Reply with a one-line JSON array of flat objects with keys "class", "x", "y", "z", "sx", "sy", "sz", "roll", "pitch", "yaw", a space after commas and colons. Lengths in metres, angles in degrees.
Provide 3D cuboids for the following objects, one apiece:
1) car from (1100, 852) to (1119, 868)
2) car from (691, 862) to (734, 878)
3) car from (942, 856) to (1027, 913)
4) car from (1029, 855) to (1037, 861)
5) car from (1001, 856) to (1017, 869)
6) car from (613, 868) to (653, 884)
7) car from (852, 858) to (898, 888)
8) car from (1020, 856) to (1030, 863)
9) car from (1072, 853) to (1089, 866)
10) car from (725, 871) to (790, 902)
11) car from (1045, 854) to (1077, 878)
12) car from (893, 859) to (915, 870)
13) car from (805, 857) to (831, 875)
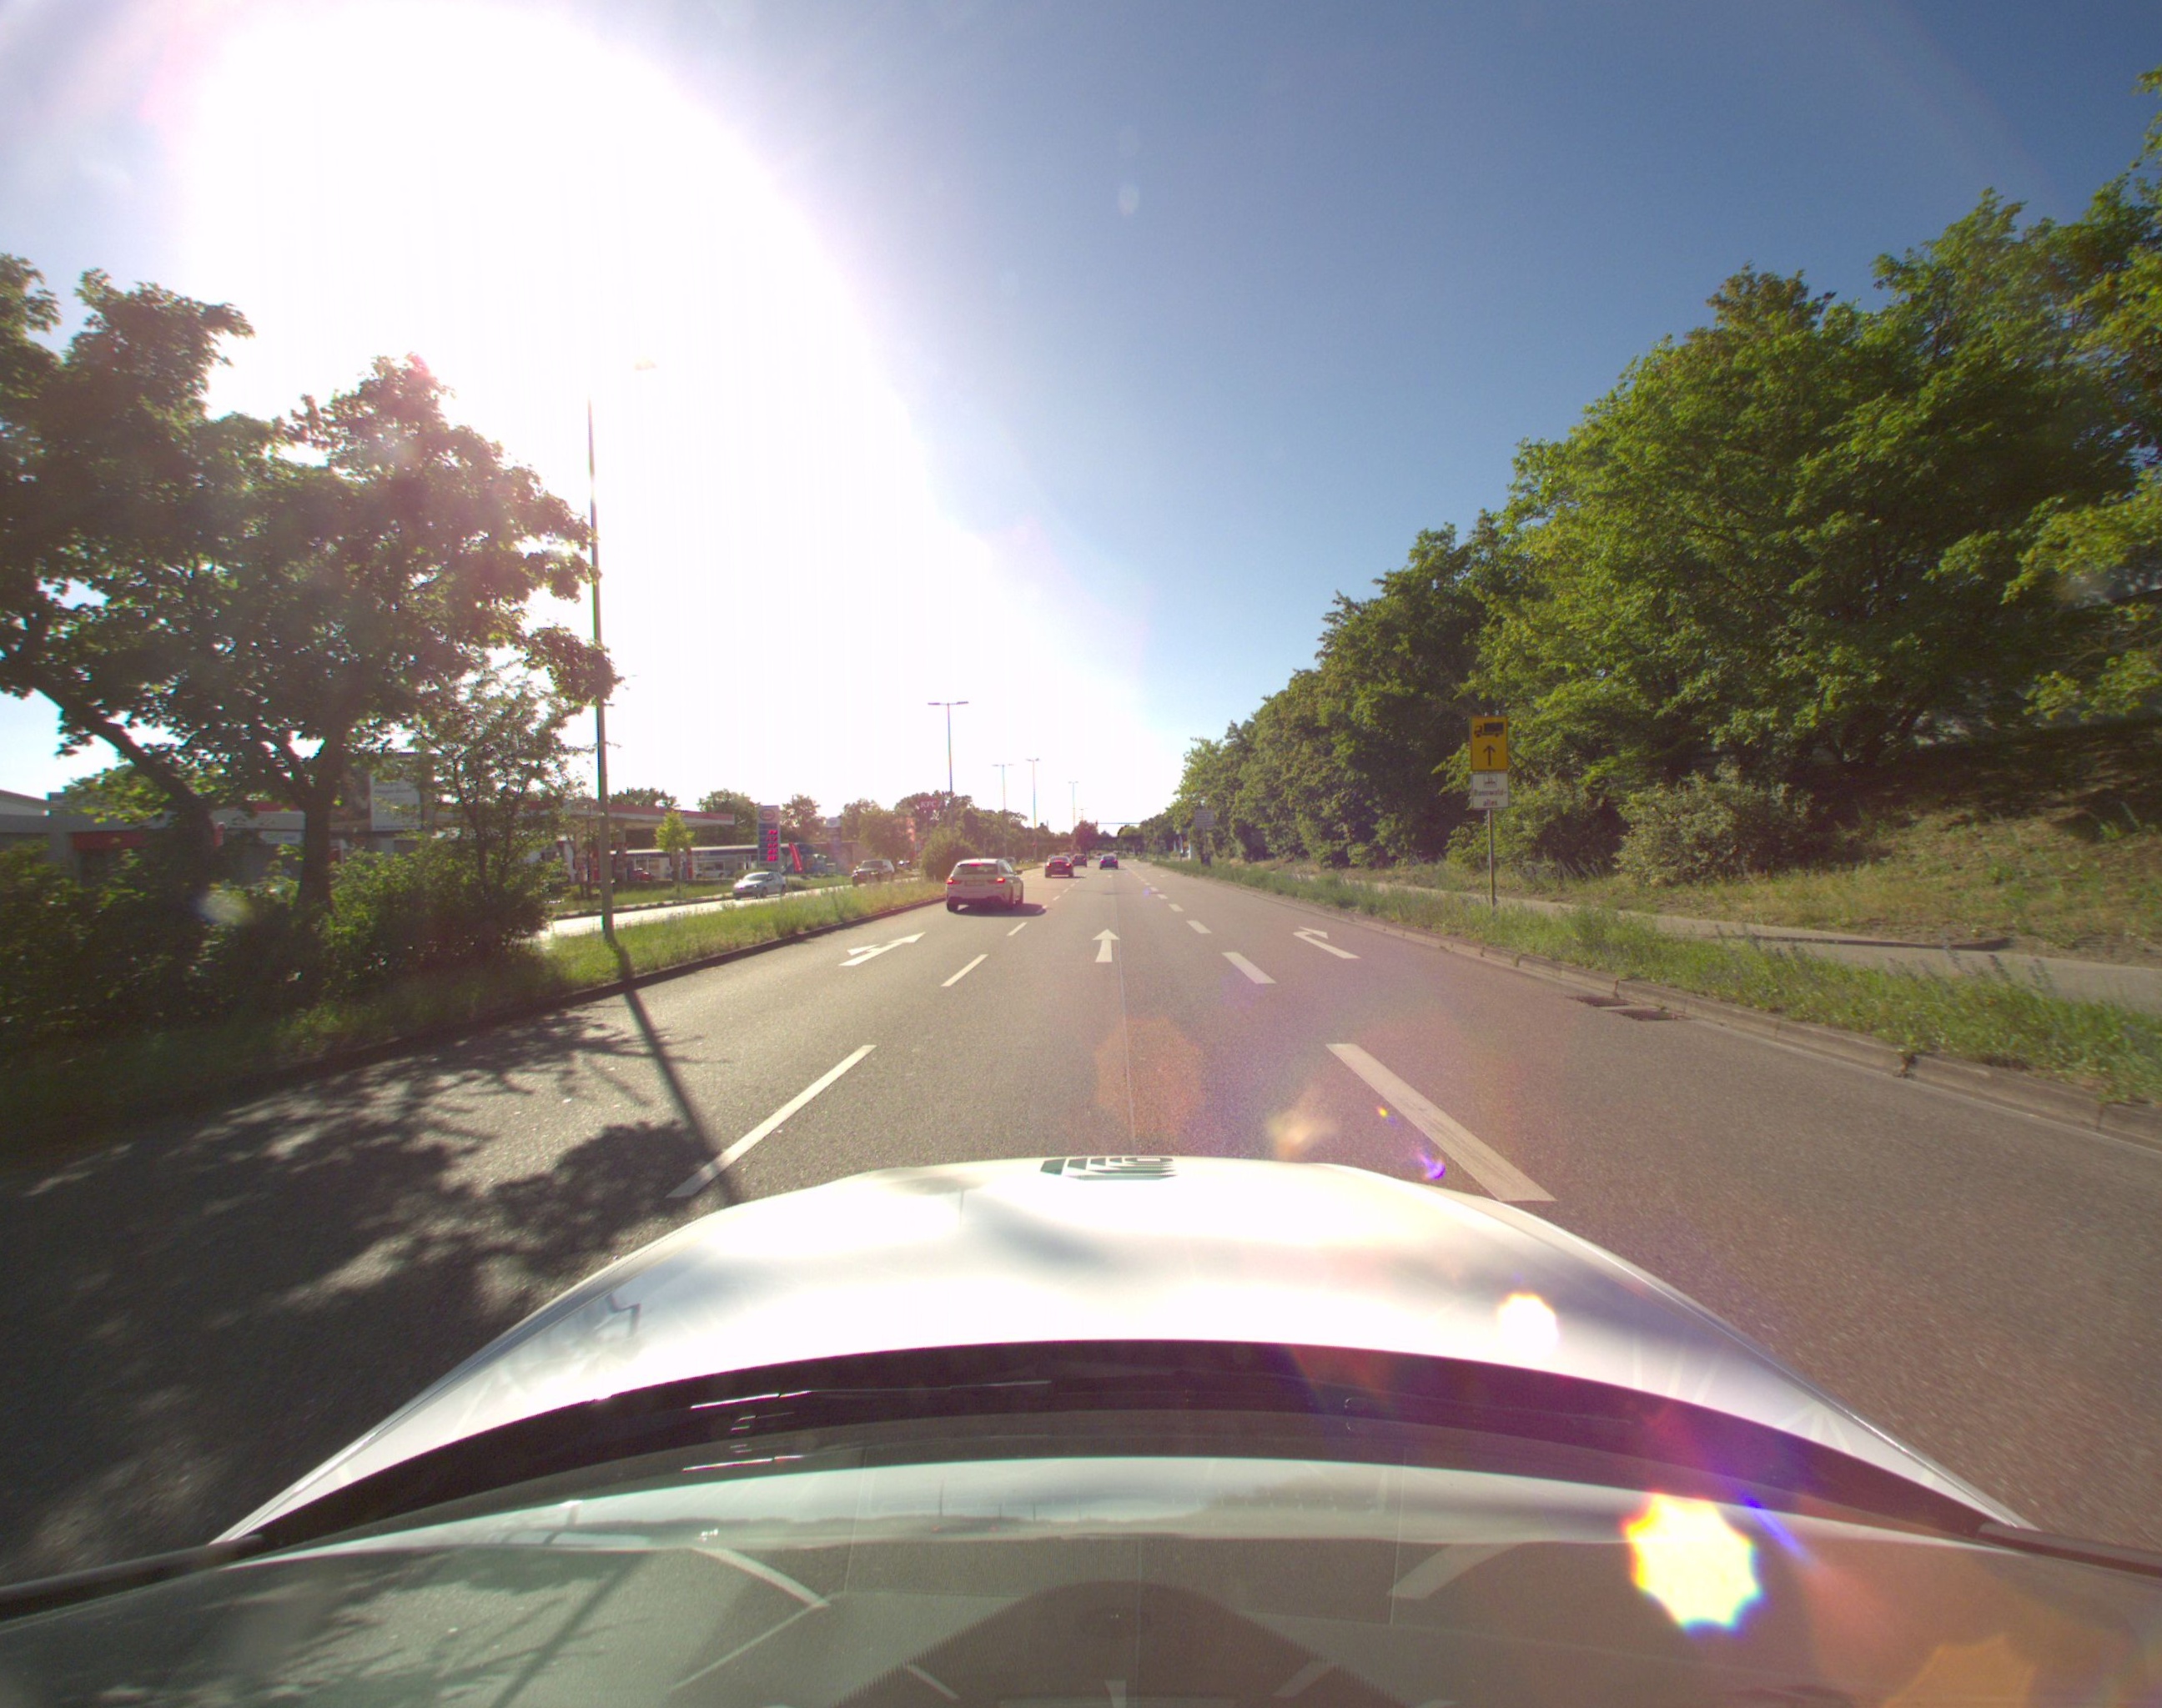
[{"class": "car", "x": 2.902, "y": 0.576, "z": 83.507, "sx": 1.854, "sy": 1.499, "sz": 4.338, "roll": -2, "pitch": 0, "yaw": 2}, {"class": "car", "x": -46.283, "y": 2.034, "z": 102.378, "sx": 4.371, "sy": 1.842, "sz": 1.999, "roll": -2, "pitch": 0, "yaw": -1}, {"class": "car", "x": -2.737, "y": 0.825, "z": 24.084, "sx": 1.855, "sy": 1.455, "sz": 4.549, "roll": 0, "pitch": 1, "yaw": 1}, {"class": "car", "x": -11.745, "y": 0.922, "z": 198.862, "sx": 1.697, "sy": 1.402, "sz": 3.725, "roll": -2, "pitch": 0, "yaw": 2}, {"class": "car", "x": -8.668, "y": 1.043, "z": 98.311, "sx": 1.487, "sy": 1.508, "sz": 3.488, "roll": -2, "pitch": 0, "yaw": 2}, {"class": "car", "x": -49.305, "y": 2.395, "z": 89.679, "sx": 1.803, "sy": 1.550, "sz": 4.297, "roll": -2, "pitch": 0, "yaw": 3}, {"class": "car", "x": -14.458, "y": 1.287, "z": 57.430, "sx": 1.733, "sy": 1.802, "sz": 4.674, "roll": -5, "pitch": 0, "yaw": 2}, {"class": "car", "x": -12.685, "y": 1.238, "z": 184.616, "sx": 1.697, "sy": 1.402, "sz": 3.725, "roll": -2, "pitch": 0, "yaw": 2}, {"class": "car", "x": -0.028, "y": 0.672, "z": 100.008, "sx": 1.854, "sy": 1.565, "sz": 4.549, "roll": -2, "pitch": 0, "yaw": 2}, {"class": "car", "x": -18.281, "y": 1.791, "z": 46.214, "sx": 1.733, "sy": 1.455, "sz": 4.211, "roll": -4, "pitch": 0, "yaw": 2}, {"class": "car", "x": -1.329, "y": 0.800, "z": 55.683, "sx": 1.854, "sy": 1.455, "sz": 4.549, "roll": -2, "pitch": 0, "yaw": 2}, {"class": "car", "x": -30.561, "y": 1.798, "z": 140.594, "sx": 1.938, "sy": 1.783, "sz": 4.037, "roll": -2, "pitch": 0, "yaw": -42}, {"class": "car", "x": -33.668, "y": 1.556, "z": 104.444, "sx": 1.812, "sy": 2.209, "sz": 4.001, "roll": -2, "pitch": 0, "yaw": 1}]
